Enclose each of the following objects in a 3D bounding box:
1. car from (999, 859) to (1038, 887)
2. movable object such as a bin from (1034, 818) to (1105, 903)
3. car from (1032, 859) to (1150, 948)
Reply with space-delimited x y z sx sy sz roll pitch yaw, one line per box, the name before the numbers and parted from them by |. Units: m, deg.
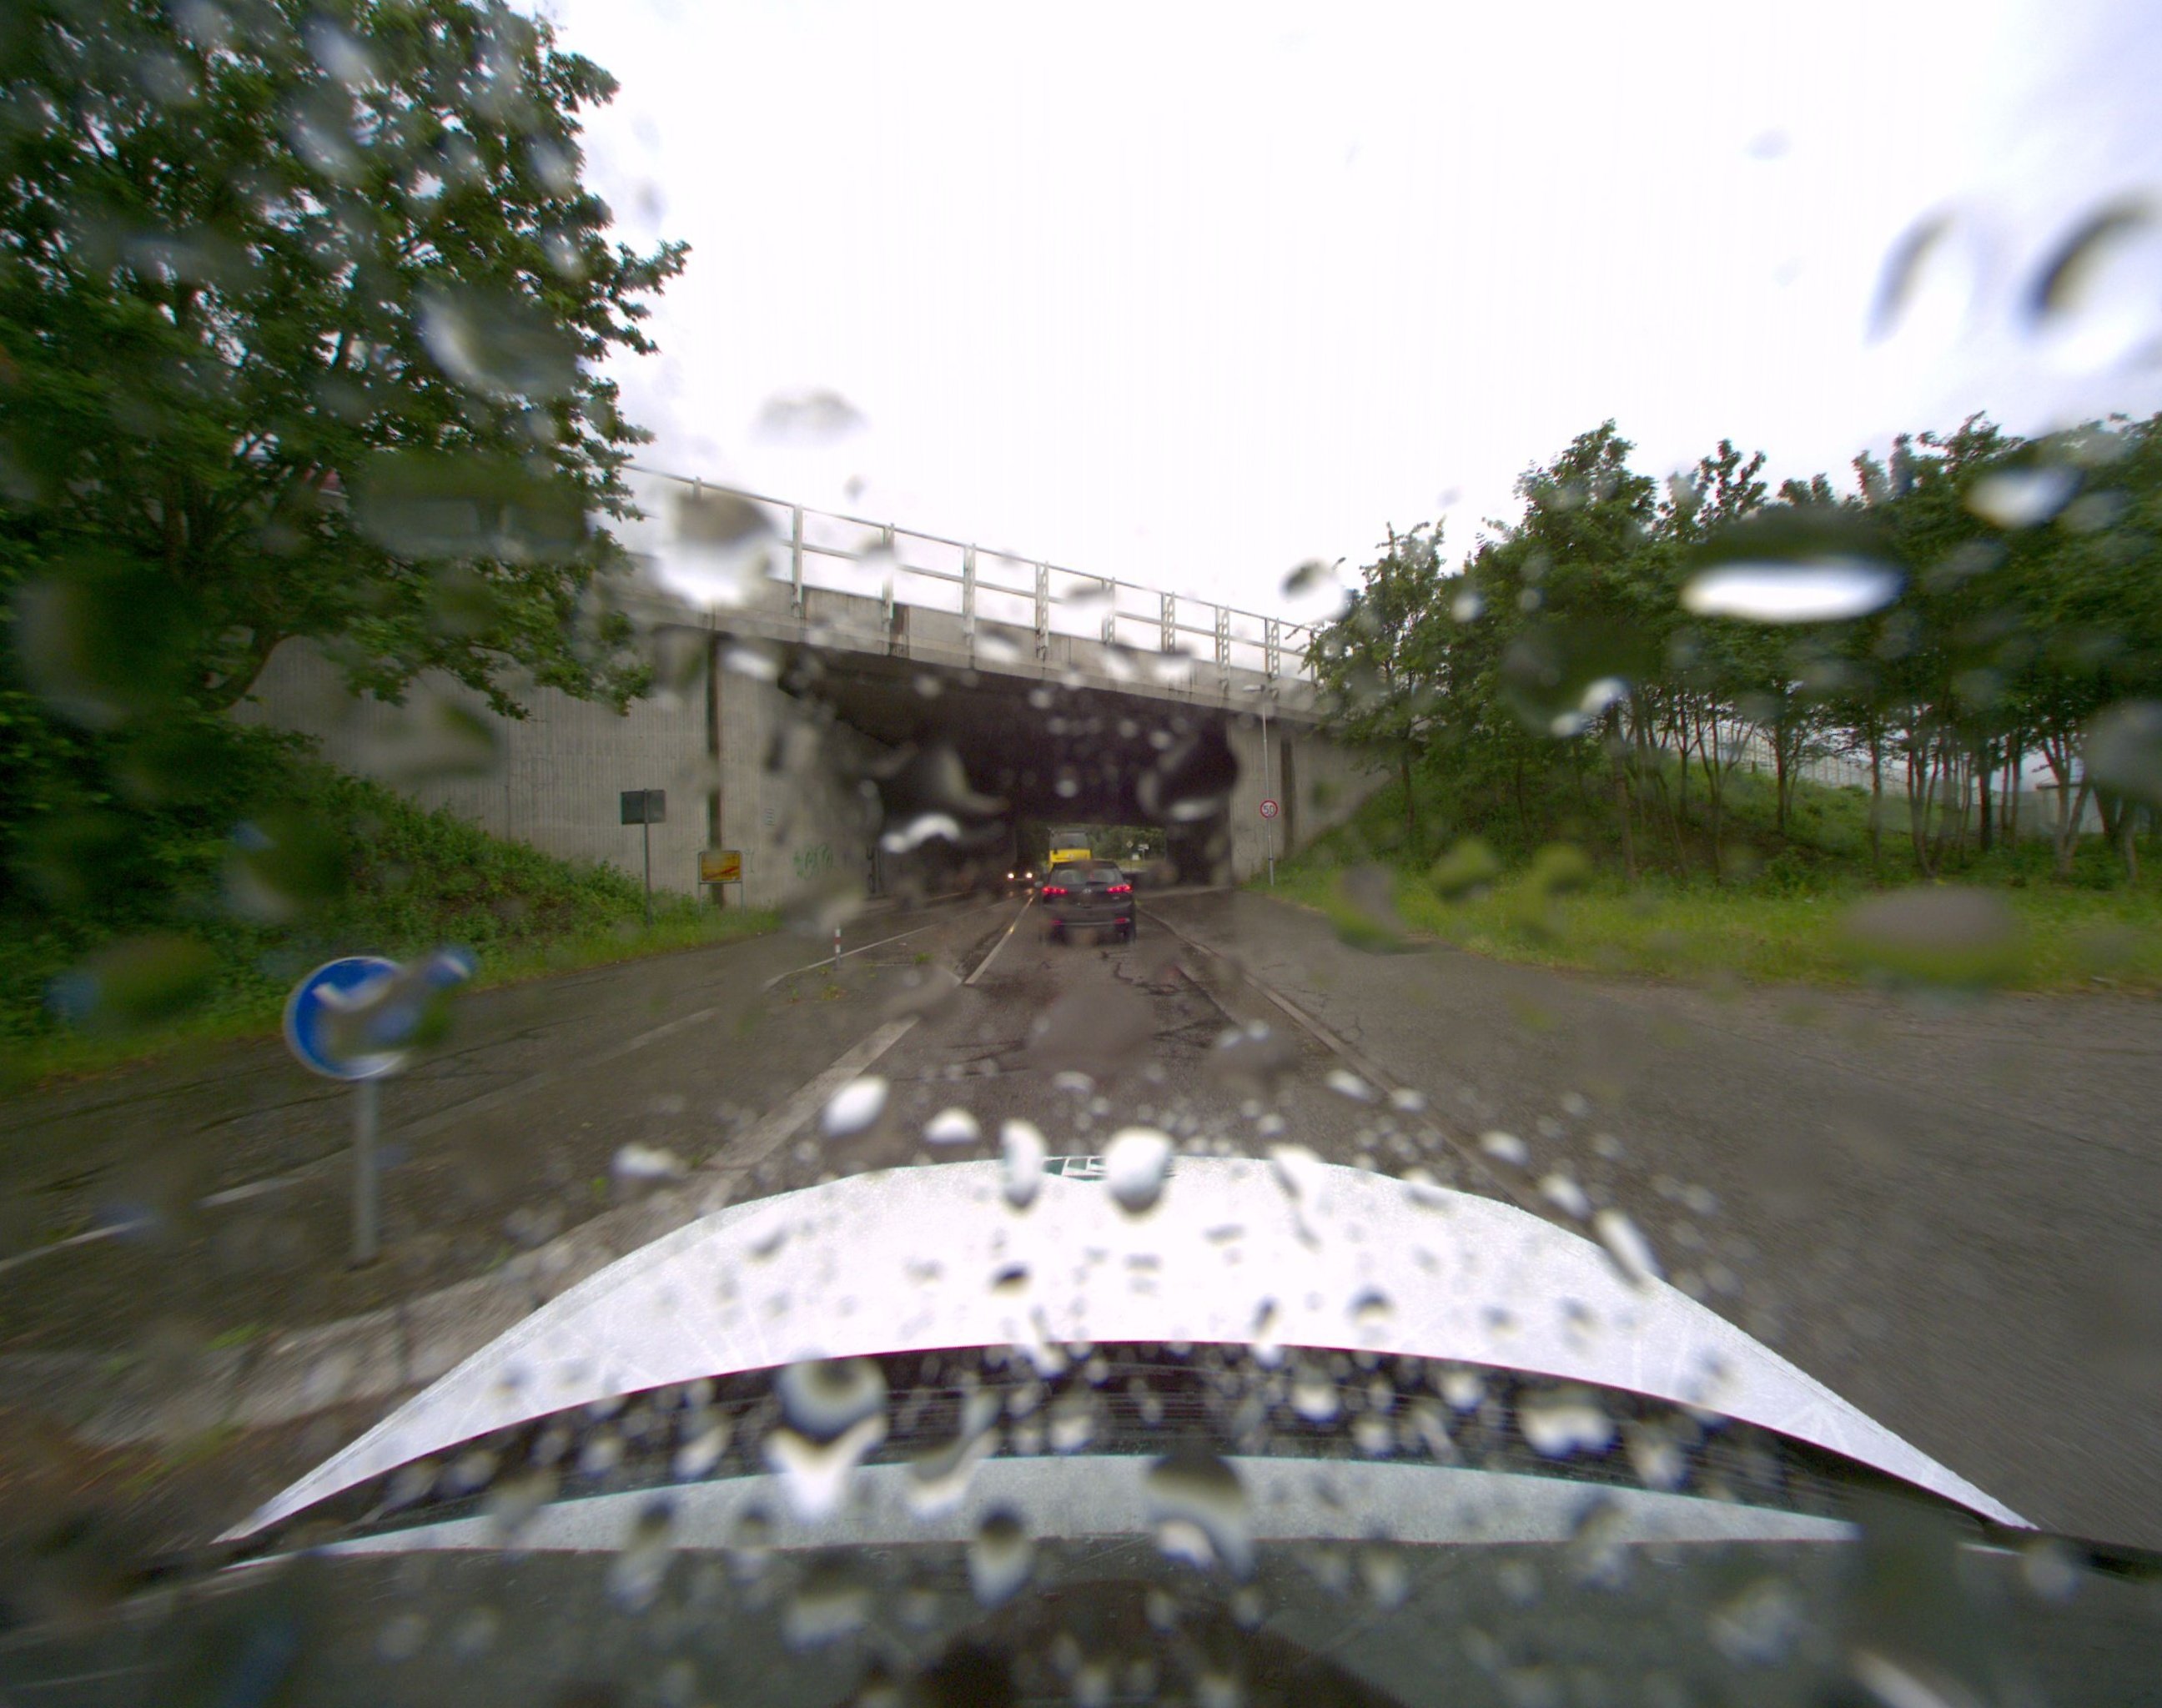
car | -3.508 1.042 46.392 1.683 1.487 4.076 -1 0 3
movable object such as a bin | -0.378 0.233 29.067 2.238 2.669 6.625 0 -1 0
car | 0.166 0.841 15.660 1.987 1.487 3.999 0 -1 0
